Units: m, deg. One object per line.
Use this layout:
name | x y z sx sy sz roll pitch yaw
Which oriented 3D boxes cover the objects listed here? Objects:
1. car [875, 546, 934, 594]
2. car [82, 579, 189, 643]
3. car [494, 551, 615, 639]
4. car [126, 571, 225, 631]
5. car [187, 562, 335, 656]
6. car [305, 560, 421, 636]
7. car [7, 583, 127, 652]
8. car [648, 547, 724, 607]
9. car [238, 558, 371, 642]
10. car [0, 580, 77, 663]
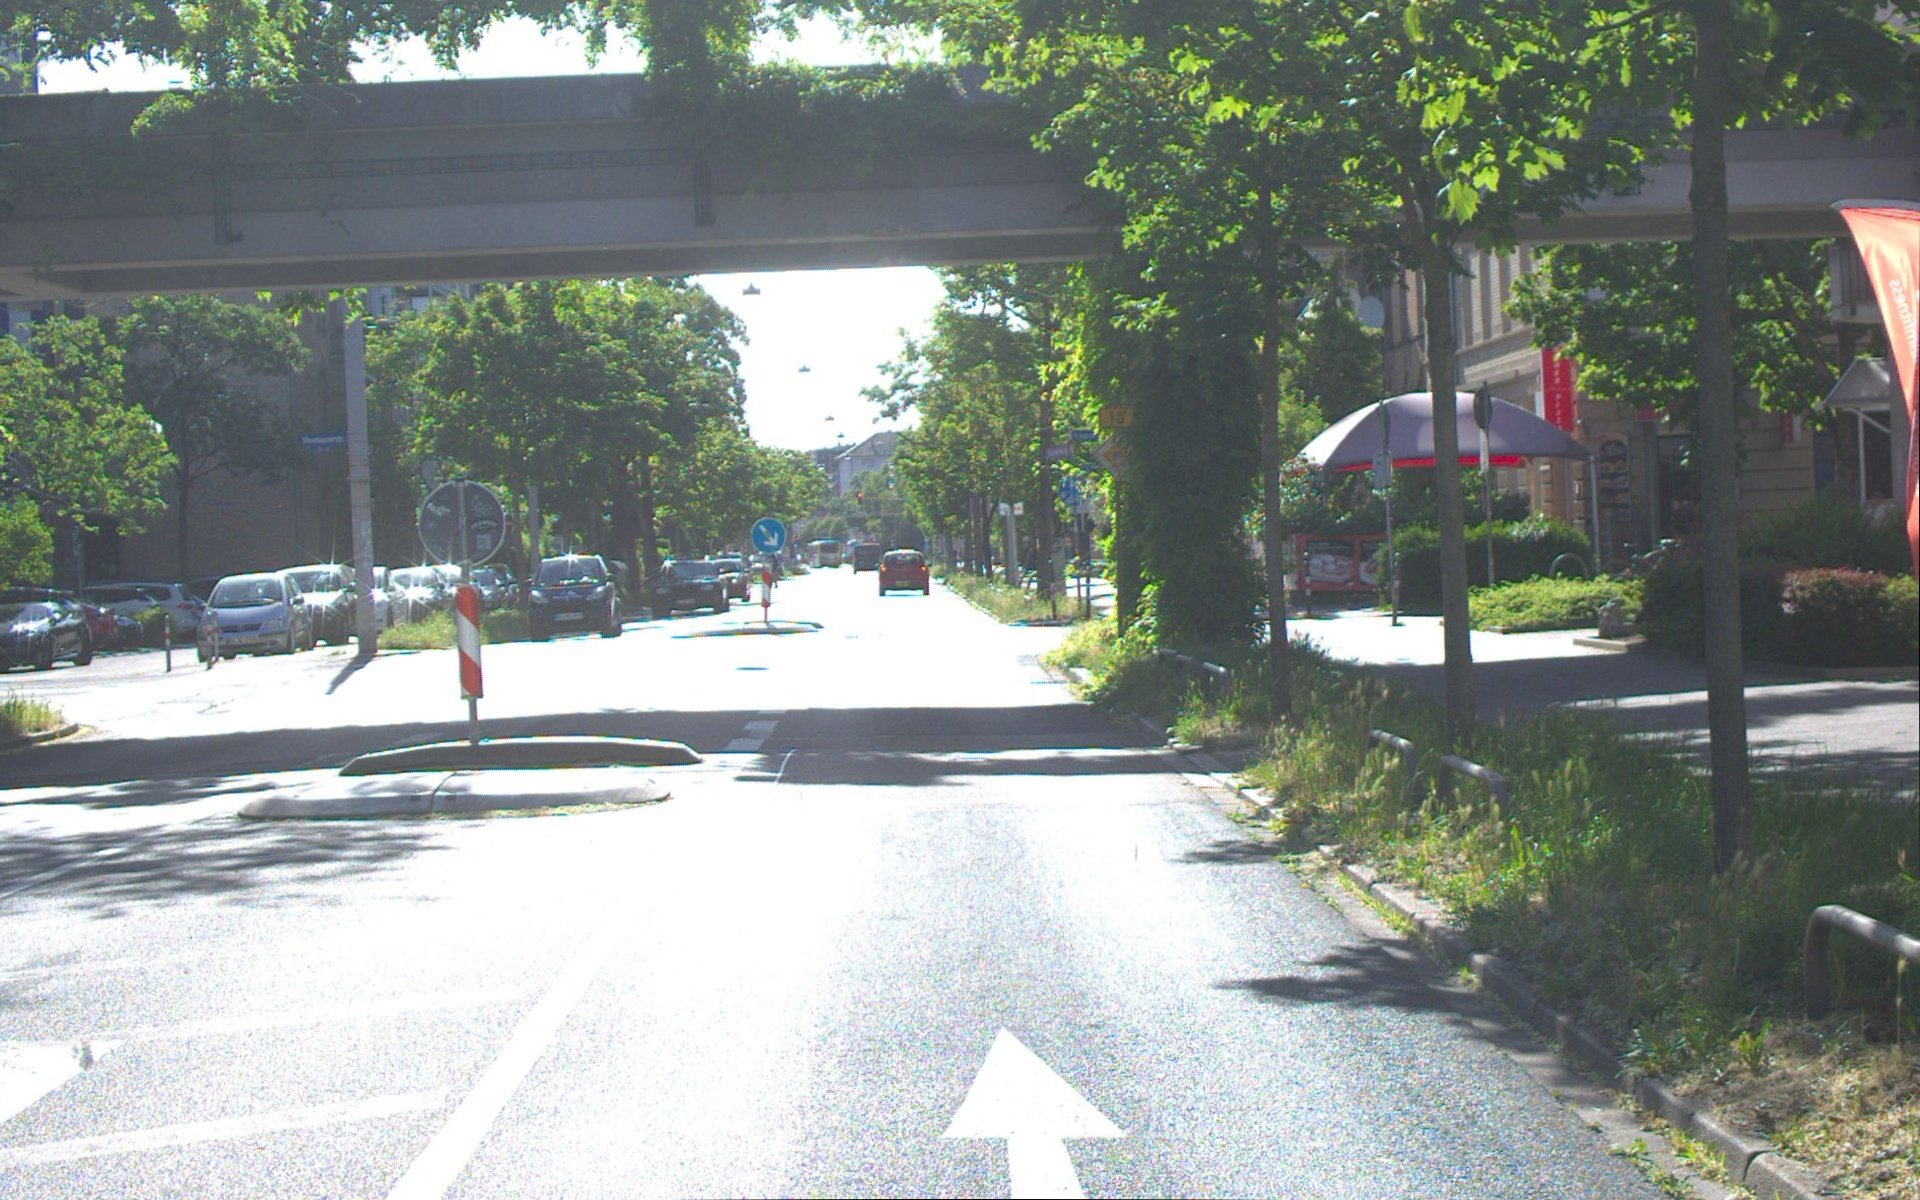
car | -1.863 -1.024 115.869 1.856 1.518 4.319 -1 1 0
car | -21.272 0.266 88.846 1.855 1.518 4.319 -1 1 -2
car | -7.440 -0.114 63.406 1.855 1.518 4.319 -1 1 -2
car | -21.558 0.004 94.654 1.855 1.518 4.319 -1 1 -2
car | -12.169 0.137 60.050 1.855 1.518 4.078 -1 1 -2
car | -12.877 -0.065 74.377 1.855 1.518 4.319 -1 1 -2
car | -21.281 0.395 82.078 1.855 1.518 4.319 -1 1 -2
car | -7.385 -0.637 92.983 1.855 1.518 4.319 -1 1 -2
car | -12.630 -0.028 66.435 1.855 1.518 4.319 -1 1 -2
car | -18.824 0.403 67.689 1.855 1.518 4.319 -1 1 -2
